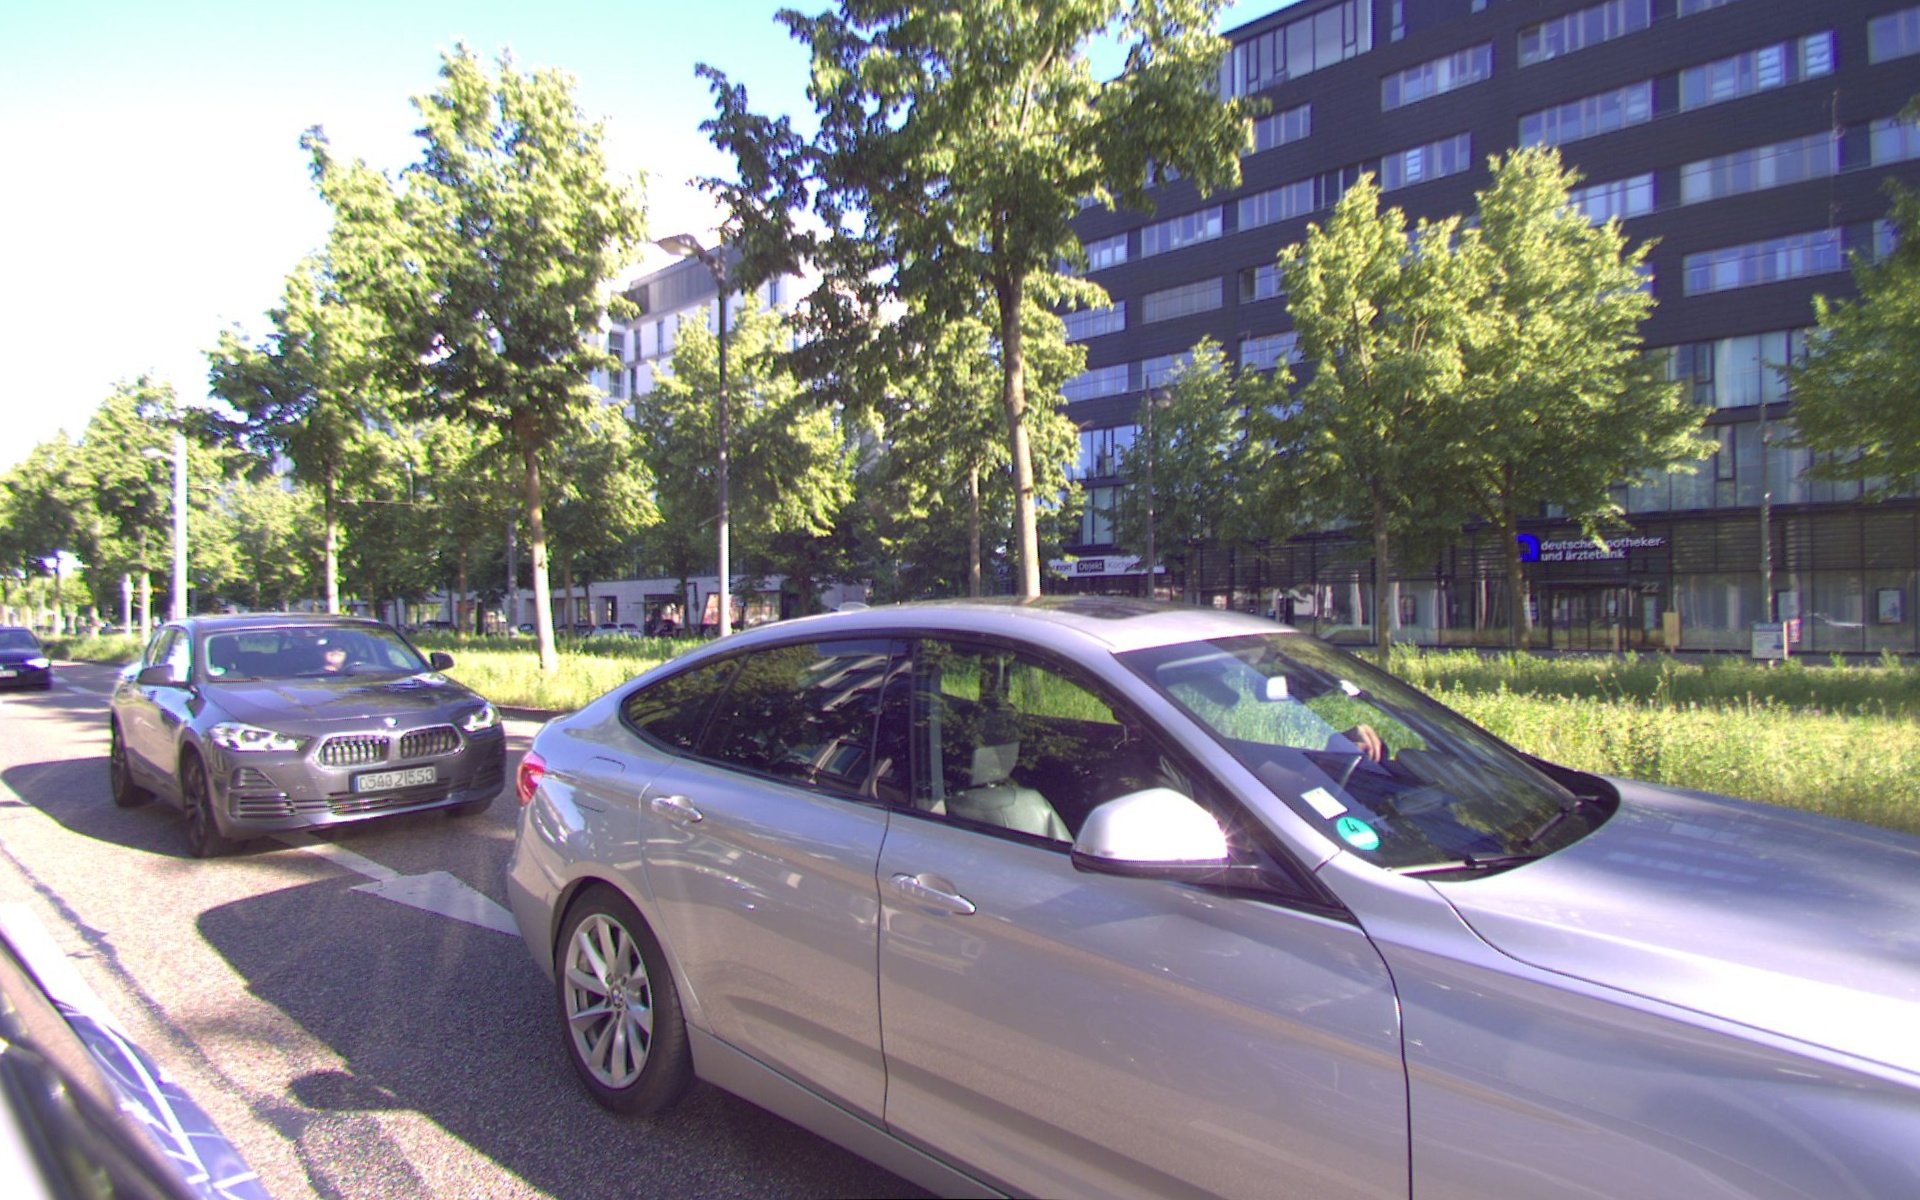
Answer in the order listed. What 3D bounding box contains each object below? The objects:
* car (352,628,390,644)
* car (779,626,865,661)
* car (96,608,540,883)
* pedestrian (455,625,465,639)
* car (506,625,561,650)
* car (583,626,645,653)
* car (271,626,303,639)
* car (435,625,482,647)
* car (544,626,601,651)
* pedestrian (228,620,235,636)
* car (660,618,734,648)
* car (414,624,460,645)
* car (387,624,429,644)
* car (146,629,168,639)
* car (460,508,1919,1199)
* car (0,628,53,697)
[{"bbox_3d":[-52.622,3.204,90.406,4.001,1.406,1.971,-2,-2,44],"label":"car"},{"bbox_3d":[-6.762,2.080,49.392,4.182,1.609,1.926,-2,-1,41],"label":"car"},{"bbox_3d":[-4.958,0.839,7.591,3.999,1.502,1.836,-1,-1,42],"label":"car"},{"bbox_3d":[-45.886,2.933,92.933,0.660,1.349,0.597,-2,-1,41],"label":"pedestrian"},{"bbox_3d":[-29.724,2.596,70.471,4.182,1.609,1.859,-2,-1,41],"label":"car"},{"bbox_3d":[-21.628,2.471,63.197,4.182,1.609,1.859,-2,-1,41],"label":"car"},{"bbox_3d":[-72.527,3.508,109.067,3.998,1.406,1.972,-2,-2,41],"label":"car"},{"bbox_3d":[-38.665,2.743,77.978,4.182,1.609,1.859,-2,-1,41],"label":"car"},{"bbox_3d":[-25.695,2.531,67.059,4.182,1.609,1.859,-2,-1,41],"label":"car"},{"bbox_3d":[-91.902,3.535,127.618,0.619,2.029,0.577,-2,-1,41],"label":"pedestrian"},{"bbox_3d":[-14.514,1.799,55.778,4.182,1.609,1.926,-2,-1,41],"label":"car"},{"bbox_3d":[-42.127,2.789,81.484,4.182,1.609,1.859,-2,-1,41],"label":"car"},{"bbox_3d":[-46.582,2.859,85.381,4.182,1.609,1.859,-2,-1,41],"label":"car"},{"bbox_3d":[-114.621,4.825,144.500,4.001,1.406,1.971,-2,-2,44],"label":"car"},{"bbox_3d":[0.640,0.679,2.588,4.558,1.495,1.800,-1,-1,40],"label":"car"},{"bbox_3d":[-21.777,1.362,22.618,4.344,1.434,1.854,-1,-1,43],"label":"car"}]
